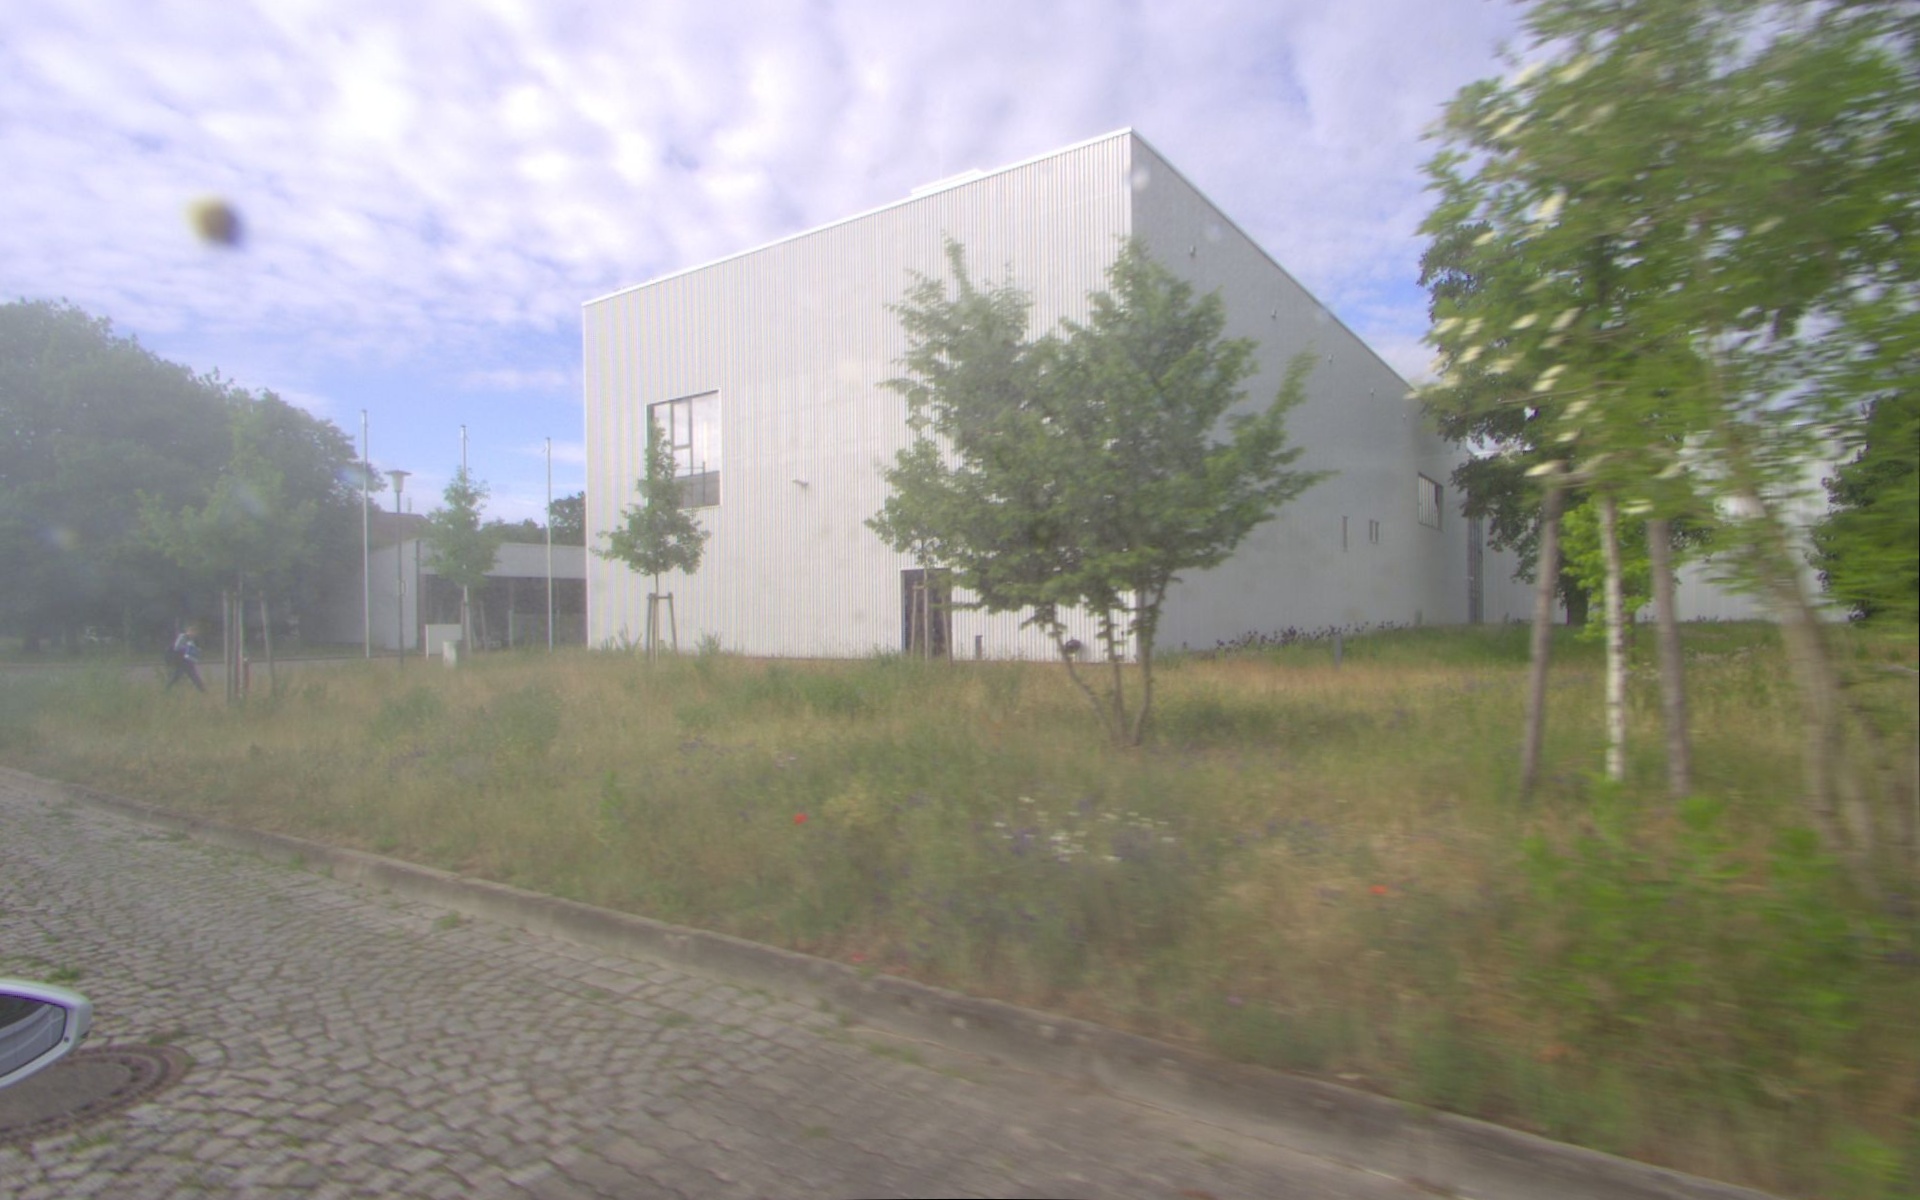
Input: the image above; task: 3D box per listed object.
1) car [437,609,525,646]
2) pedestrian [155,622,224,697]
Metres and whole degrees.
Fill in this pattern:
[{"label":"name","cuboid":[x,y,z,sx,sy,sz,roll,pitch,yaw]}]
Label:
[{"label":"car","cuboid":[-27.249,1.554,56.914,5.264,2.040,2.235,-1,-1,35]},{"label":"pedestrian","cuboid":[-16.965,1.289,22.079,1.063,1.577,1.069,-1,0,-31]}]
